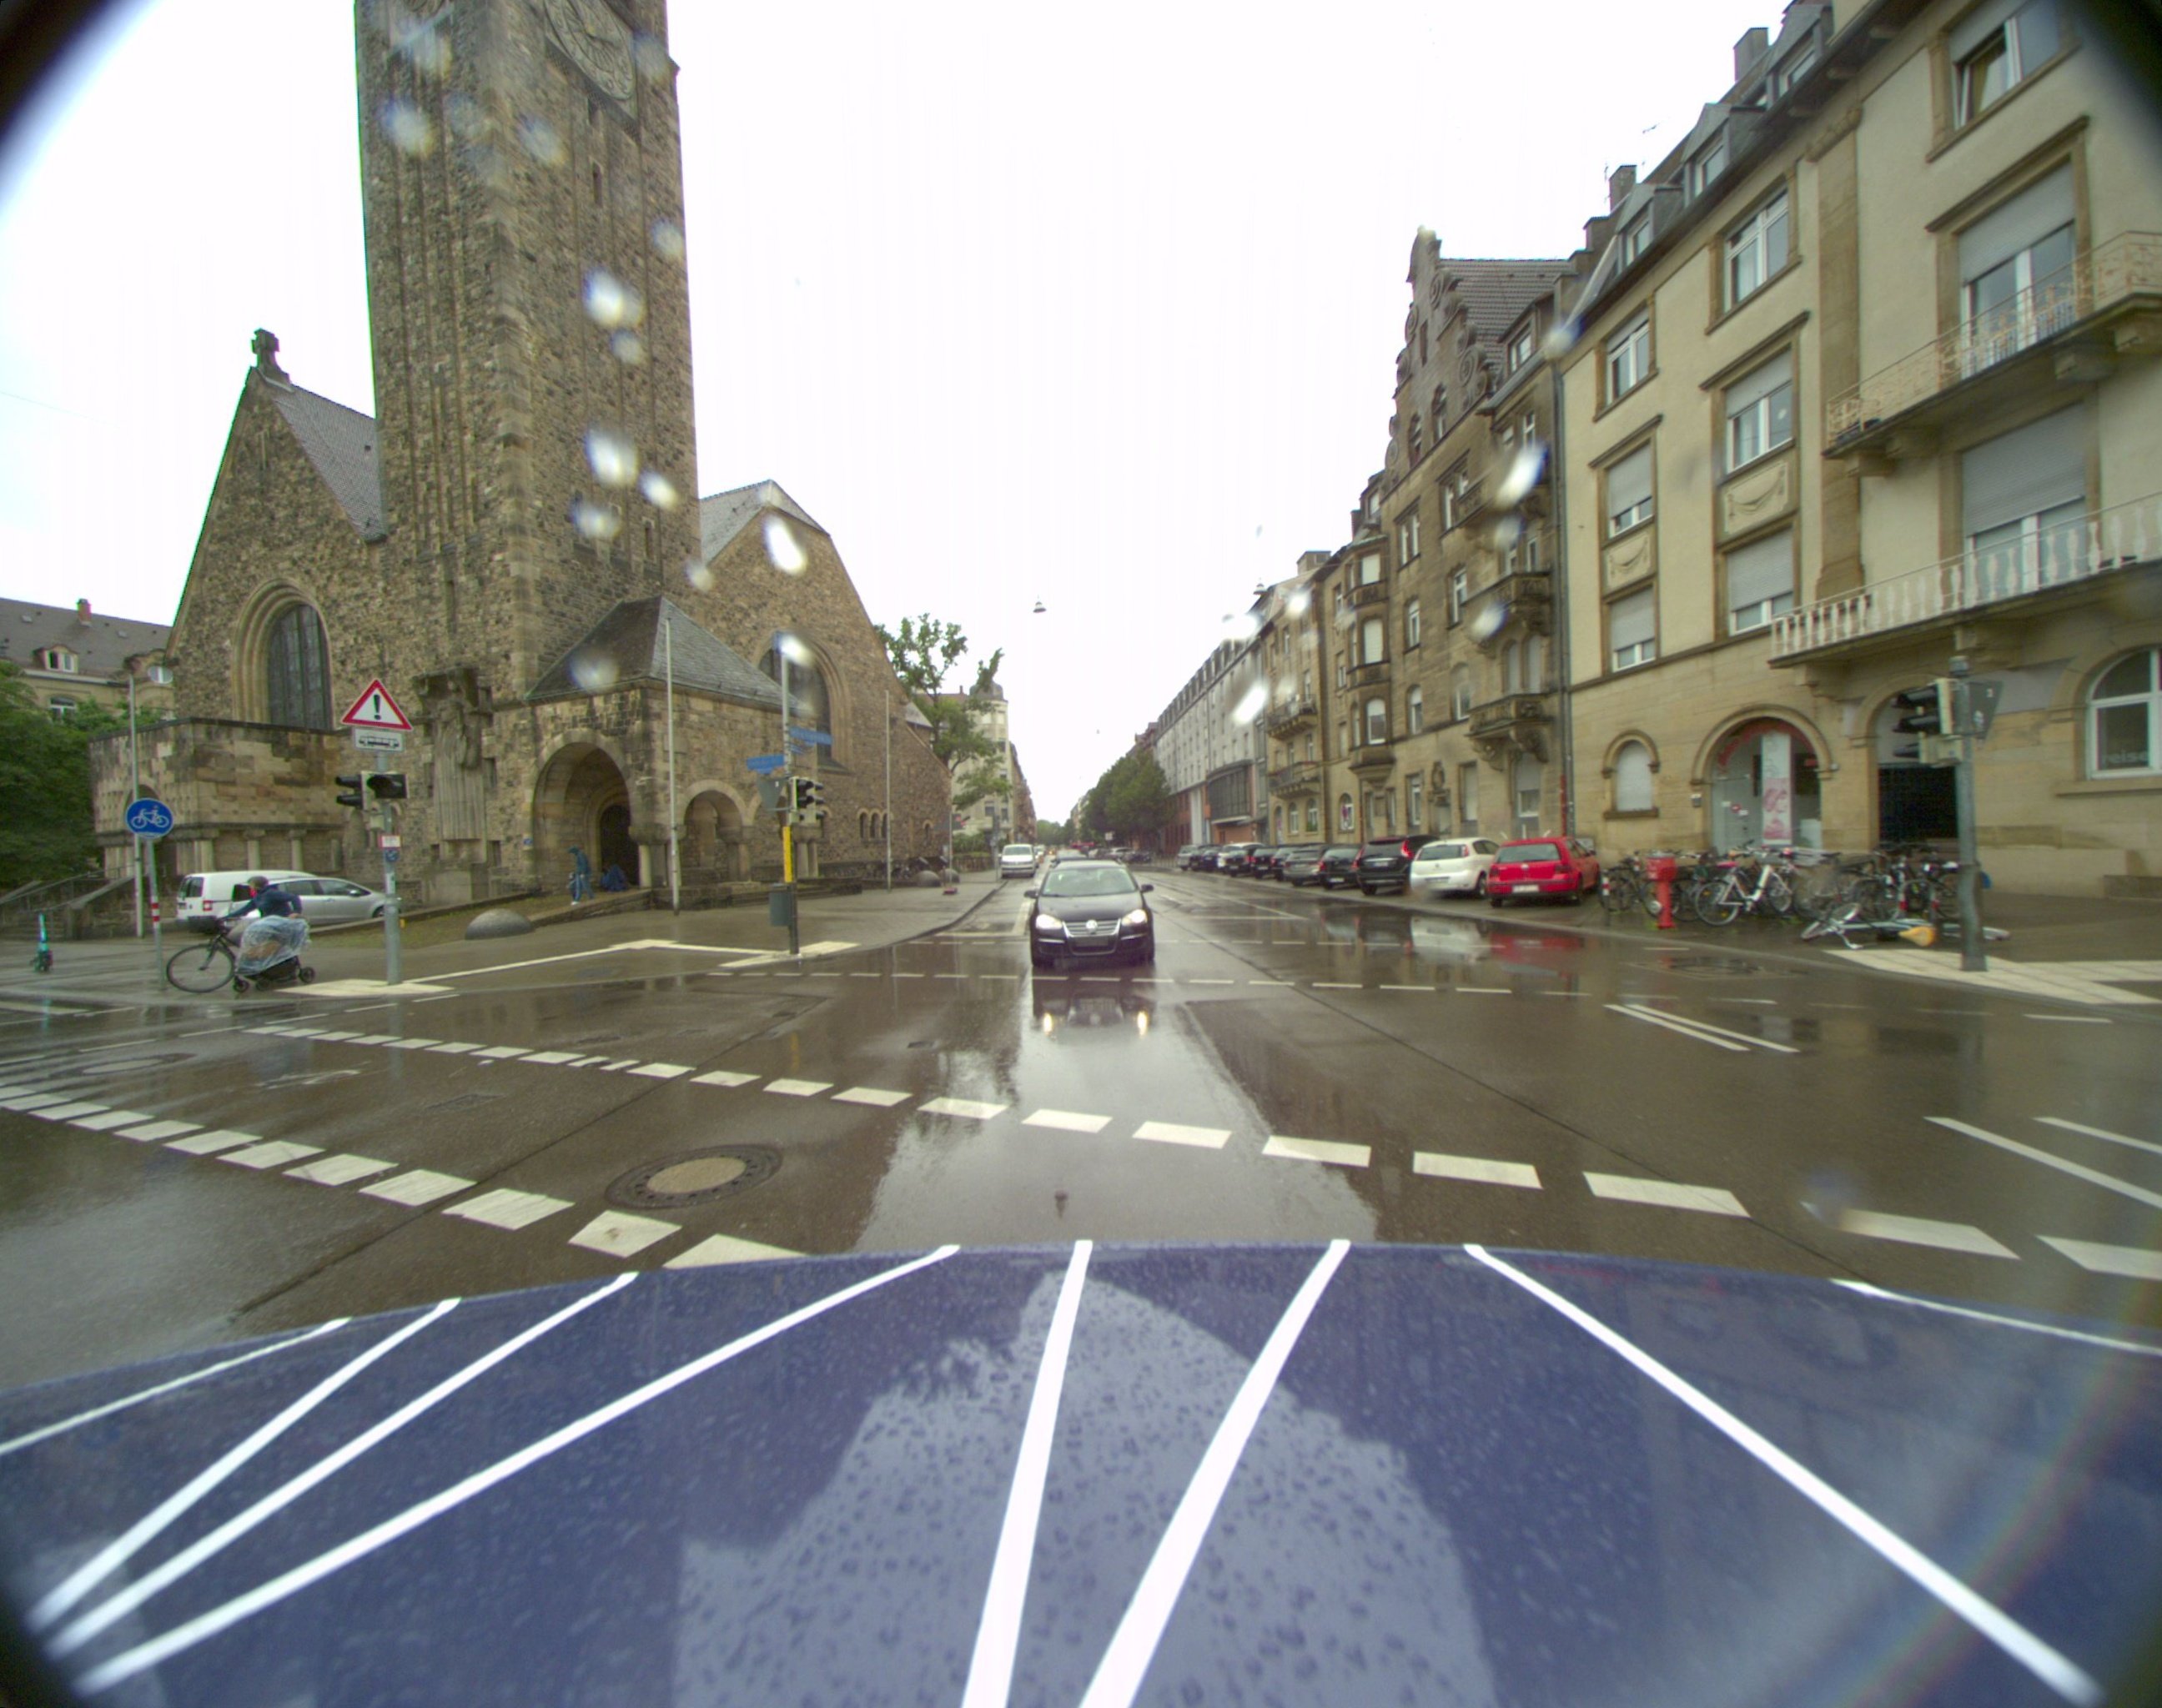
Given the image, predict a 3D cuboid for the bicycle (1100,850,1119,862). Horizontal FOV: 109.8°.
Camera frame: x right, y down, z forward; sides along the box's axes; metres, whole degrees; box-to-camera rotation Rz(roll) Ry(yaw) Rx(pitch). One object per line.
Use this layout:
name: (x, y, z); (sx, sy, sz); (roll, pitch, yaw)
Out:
bicycle: (2.732, 0.200, 72.844); (1.688, 1.067, 0.544); (0, 1, -5)

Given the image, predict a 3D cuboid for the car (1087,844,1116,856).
car: (2.878, -0.603, 108.946); (3.803, 1.705, 1.904); (-2, 1, -12)

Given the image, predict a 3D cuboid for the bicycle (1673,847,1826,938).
bicycle: (10.278, 0.568, 11.701); (1.985, 1.178, 0.474); (-6, 2, -5)

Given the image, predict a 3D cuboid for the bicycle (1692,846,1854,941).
bicycle: (10.210, 0.573, 11.239); (1.981, 1.322, 0.438); (-2, 1, 0)

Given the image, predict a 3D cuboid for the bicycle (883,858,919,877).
bicycle: (-10.051, 0.758, 42.401); (1.924, 1.054, 0.582); (-1, 1, 20)

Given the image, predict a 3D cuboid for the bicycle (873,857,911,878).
bicycle: (-10.401, 0.743, 41.812); (1.924, 1.054, 0.582); (-1, 1, 17)

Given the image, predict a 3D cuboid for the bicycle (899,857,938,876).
bicycle: (-9.338, 0.735, 43.698); (2.151, 1.054, 0.679); (-1, 1, 20)

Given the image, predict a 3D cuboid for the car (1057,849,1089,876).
car: (-0.524, 0.467, 44.328); (1.766, 1.430, 3.747); (-1, 1, -2)

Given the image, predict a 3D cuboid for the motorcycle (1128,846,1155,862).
motorcycle: (5.274, -0.005, 66.298); (2.255, 1.302, 0.758); (-4, 1, -2)

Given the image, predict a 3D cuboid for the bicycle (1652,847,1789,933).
bicycle: (10.297, 0.562, 12.250); (1.815, 1.178, 0.468); (-6, 2, -4)

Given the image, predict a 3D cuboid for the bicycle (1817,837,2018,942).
bicycle: (11.660, 0.470, 10.613); (2.347, 1.338, 0.640); (-2, 1, -7)

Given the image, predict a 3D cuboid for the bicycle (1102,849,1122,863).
bicycle: (2.856, 0.164, 69.645); (1.688, 1.067, 0.544); (-7, 2, -5)

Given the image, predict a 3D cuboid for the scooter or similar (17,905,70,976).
scooter or similar: (-20.606, 1.707, 15.089); (1.101, 1.379, 0.287); (-2, 1, 21)

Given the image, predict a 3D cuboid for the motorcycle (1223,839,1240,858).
motorcycle: (11.994, -0.457, 60.707); (0.777, 1.455, 2.362); (-1, 1, -2)

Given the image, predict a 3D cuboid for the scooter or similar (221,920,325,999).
scooter or similar: (-12.163, 1.567, 11.467); (0.514, 1.042, 0.924); (-2, 1, 1)

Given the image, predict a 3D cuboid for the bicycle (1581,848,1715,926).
bicycle: (10.133, 0.575, 13.618); (1.814, 1.178, 0.600); (-6, 1, 4)

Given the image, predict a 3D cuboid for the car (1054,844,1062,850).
car: (-6.472, -1.980, 211.827); (1.998, 1.705, 4.374); (-1, 1, 2)

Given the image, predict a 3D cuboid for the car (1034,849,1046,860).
car: (-4.878, 0.030, 90.838); (1.356, 1.285, 3.012); (-1, 1, -2)

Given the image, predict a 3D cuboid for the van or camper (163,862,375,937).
van or camper: (-24.528, 1.308, 23.168); (1.645, 1.719, 3.933); (-1, 5, 22)

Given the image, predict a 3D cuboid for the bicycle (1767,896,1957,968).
bicycle: (9.733, 0.935, 9.512); (1.044, 0.660, 1.474); (-5, 2, -33)

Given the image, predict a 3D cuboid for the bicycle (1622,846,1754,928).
bicycle: (10.217, 0.541, 12.805); (1.815, 1.178, 0.475); (-6, 2, -3)

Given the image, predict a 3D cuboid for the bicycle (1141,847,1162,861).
bicycle: (6.336, -0.014, 68.264); (1.688, 1.067, 0.544); (-5, 2, -5)

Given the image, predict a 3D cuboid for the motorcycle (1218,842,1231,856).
motorcycle: (11.962, -0.446, 63.334); (0.599, 1.095, 2.362); (-1, 1, -2)

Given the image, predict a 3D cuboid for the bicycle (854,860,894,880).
bicycle: (-11.063, 0.867, 40.679); (2.005, 1.043, 0.577); (-1, 1, 15)

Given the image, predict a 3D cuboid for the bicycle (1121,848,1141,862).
bicycle: (4.484, 0.100, 68.199); (1.688, 1.067, 0.544); (-5, 2, -5)

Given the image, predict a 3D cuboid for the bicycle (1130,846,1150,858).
bicycle: (5.379, -0.155, 68.993); (1.688, 1.067, 0.544); (-1, 1, -5)

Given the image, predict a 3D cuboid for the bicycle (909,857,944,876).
bicycle: (-9.069, 0.733, 44.636); (1.978, 1.060, 0.607); (-1, 1, 20)

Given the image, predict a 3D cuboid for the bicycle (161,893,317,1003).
bicycle: (-13.070, 1.395, 11.884); (0.533, 1.458, 1.938); (-2, 1, -12)

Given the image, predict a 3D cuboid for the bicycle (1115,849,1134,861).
bicycle: (4.097, 0.088, 71.949); (1.688, 1.067, 0.544); (-2, 1, -5)

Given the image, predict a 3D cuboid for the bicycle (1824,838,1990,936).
bicycle: (12.222, 0.466, 11.257); (2.063, 1.338, 0.584); (-2, 1, -8)

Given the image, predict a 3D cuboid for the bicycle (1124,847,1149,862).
bicycle: (4.925, 0.049, 67.254); (2.049, 1.165, 0.773); (-5, 2, -5)

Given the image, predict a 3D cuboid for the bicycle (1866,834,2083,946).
bicycle: (11.691, 0.447, 9.961); (2.347, 1.338, 0.640); (-2, 1, -7)

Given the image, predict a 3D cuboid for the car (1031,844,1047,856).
car: (-5.397, -0.591, 98.068); (1.922, 1.471, 4.219); (-1, 1, -2)

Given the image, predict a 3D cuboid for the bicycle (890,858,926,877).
bicycle: (-9.796, 0.759, 43.028); (1.924, 1.054, 0.582); (-1, 1, 20)
